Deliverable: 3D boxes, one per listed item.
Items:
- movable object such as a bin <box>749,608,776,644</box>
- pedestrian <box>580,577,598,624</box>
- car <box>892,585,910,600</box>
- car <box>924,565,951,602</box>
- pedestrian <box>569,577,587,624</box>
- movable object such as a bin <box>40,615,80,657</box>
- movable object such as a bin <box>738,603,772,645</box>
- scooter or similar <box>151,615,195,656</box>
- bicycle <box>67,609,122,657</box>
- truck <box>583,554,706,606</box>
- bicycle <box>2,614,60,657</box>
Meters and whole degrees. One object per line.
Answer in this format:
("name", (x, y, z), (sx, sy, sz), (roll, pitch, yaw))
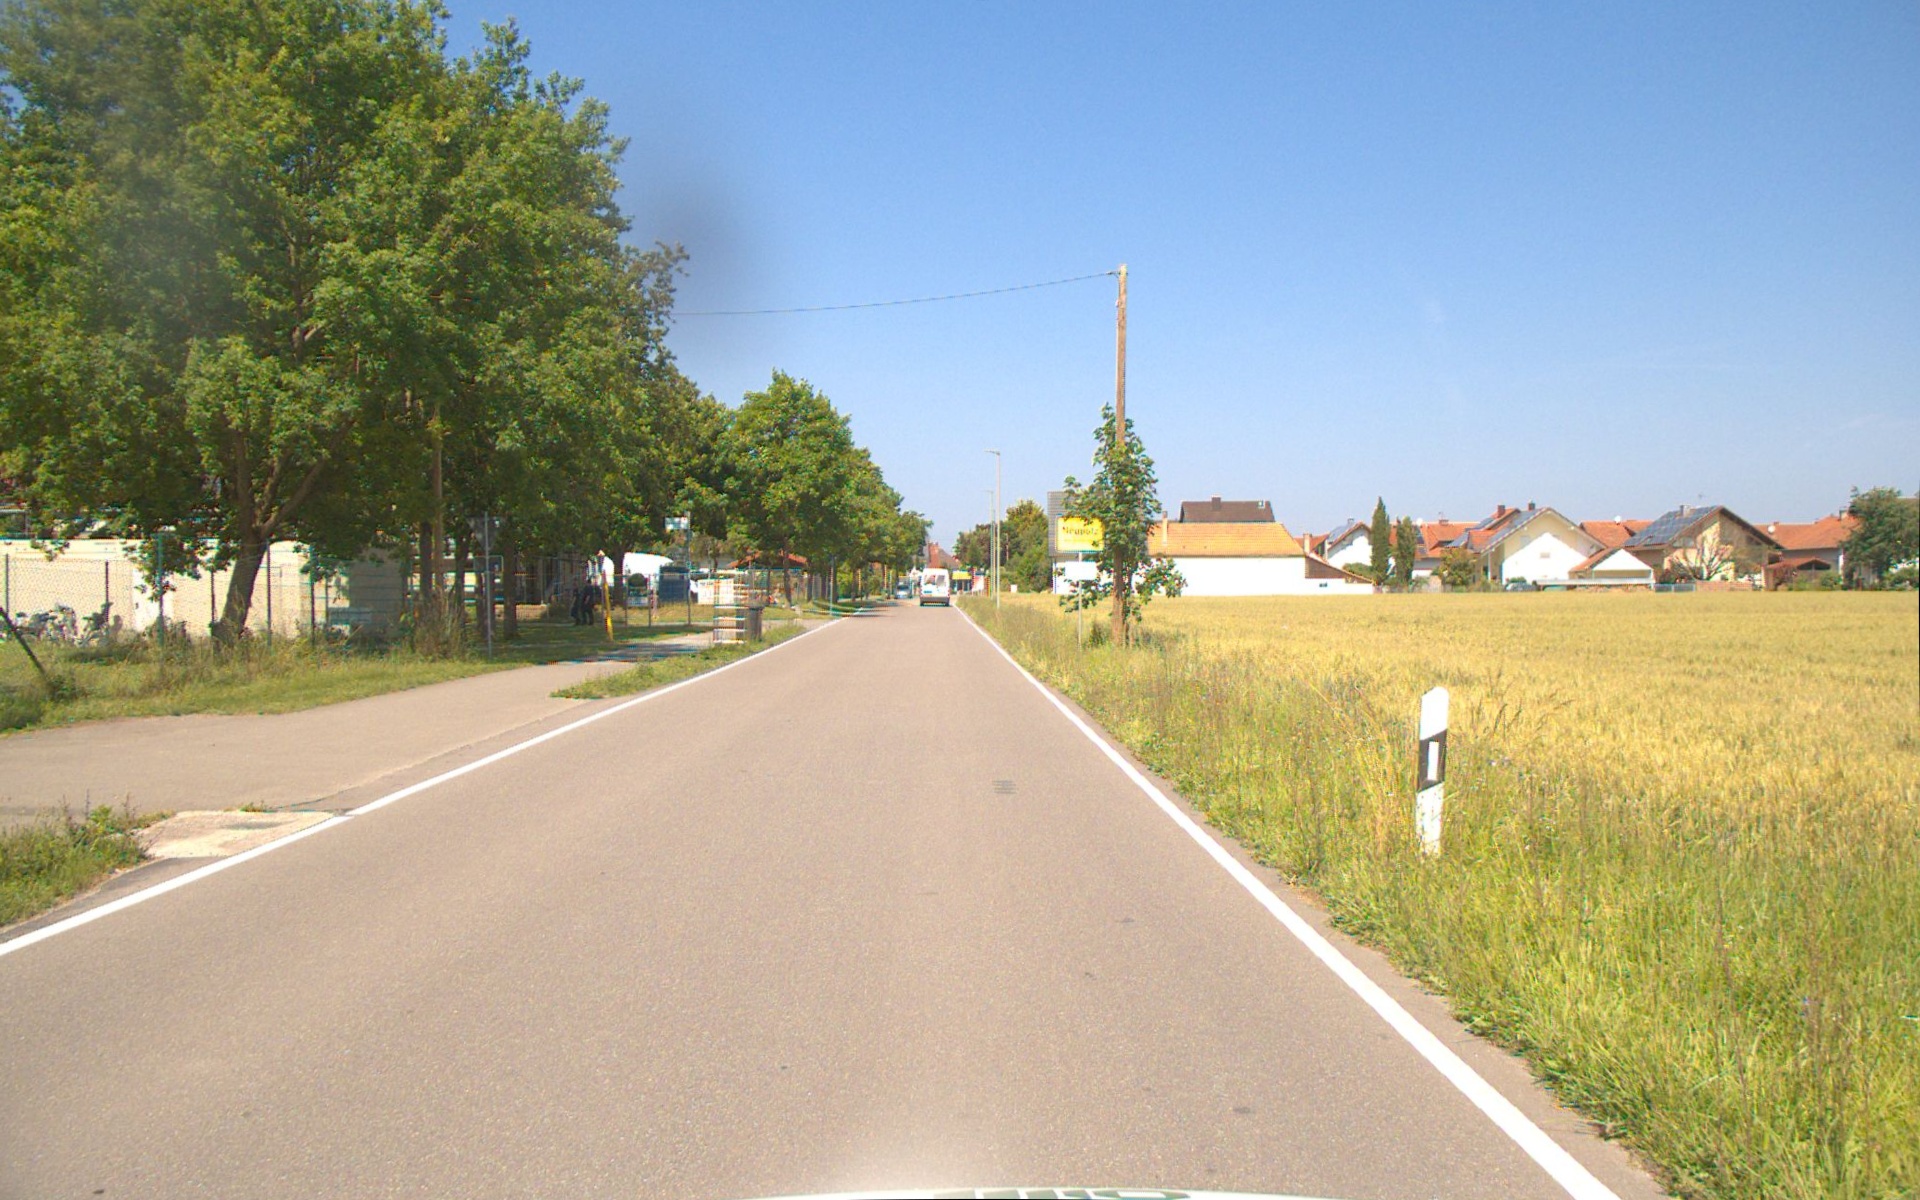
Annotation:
("movable object such as a bin", (-5.050, 0.668, 42.294), (0.550, 0.892, 0.614), (-1, 0, 6))
("pedestrian", (-14.189, 0.001, 63.242), (0.592, 1.781, 0.585), (-1, 0, -10))
("car", (-5.954, -0.781, 167.678), (1.614, 1.448, 4.079), (-3, 0, -1))
("car", (-1.559, -1.102, 112.162), (1.703, 2.474, 4.373), (-1, 0, -2))
("pedestrian", (-14.439, 0.020, 62.503), (0.592, 1.781, 0.585), (-1, 0, -10))
("movable object such as a bin", (-23.089, 0.922, 42.446), (0.681, 1.031, 0.663), (-1, 0, -5))
("movable object such as a bin", (-5.147, 0.595, 41.533), (0.684, 1.042, 0.748), (-1, 0, 6))
("scooter or similar", (-20.206, 0.907, 42.462), (0.877, 1.015, 0.533), (-1, 0, -7))
("bicycle", (-22.956, 0.864, 43.868), (1.215, 1.234, 0.423), (-1, 0, -4))
("truck", (-15.698, -0.978, 82.493), (5.871, 2.527, 1.973), (0, 0, -38))
("bicycle", (-24.499, 0.921, 43.636), (1.215, 1.101, 0.506), (-1, 0, -3))
